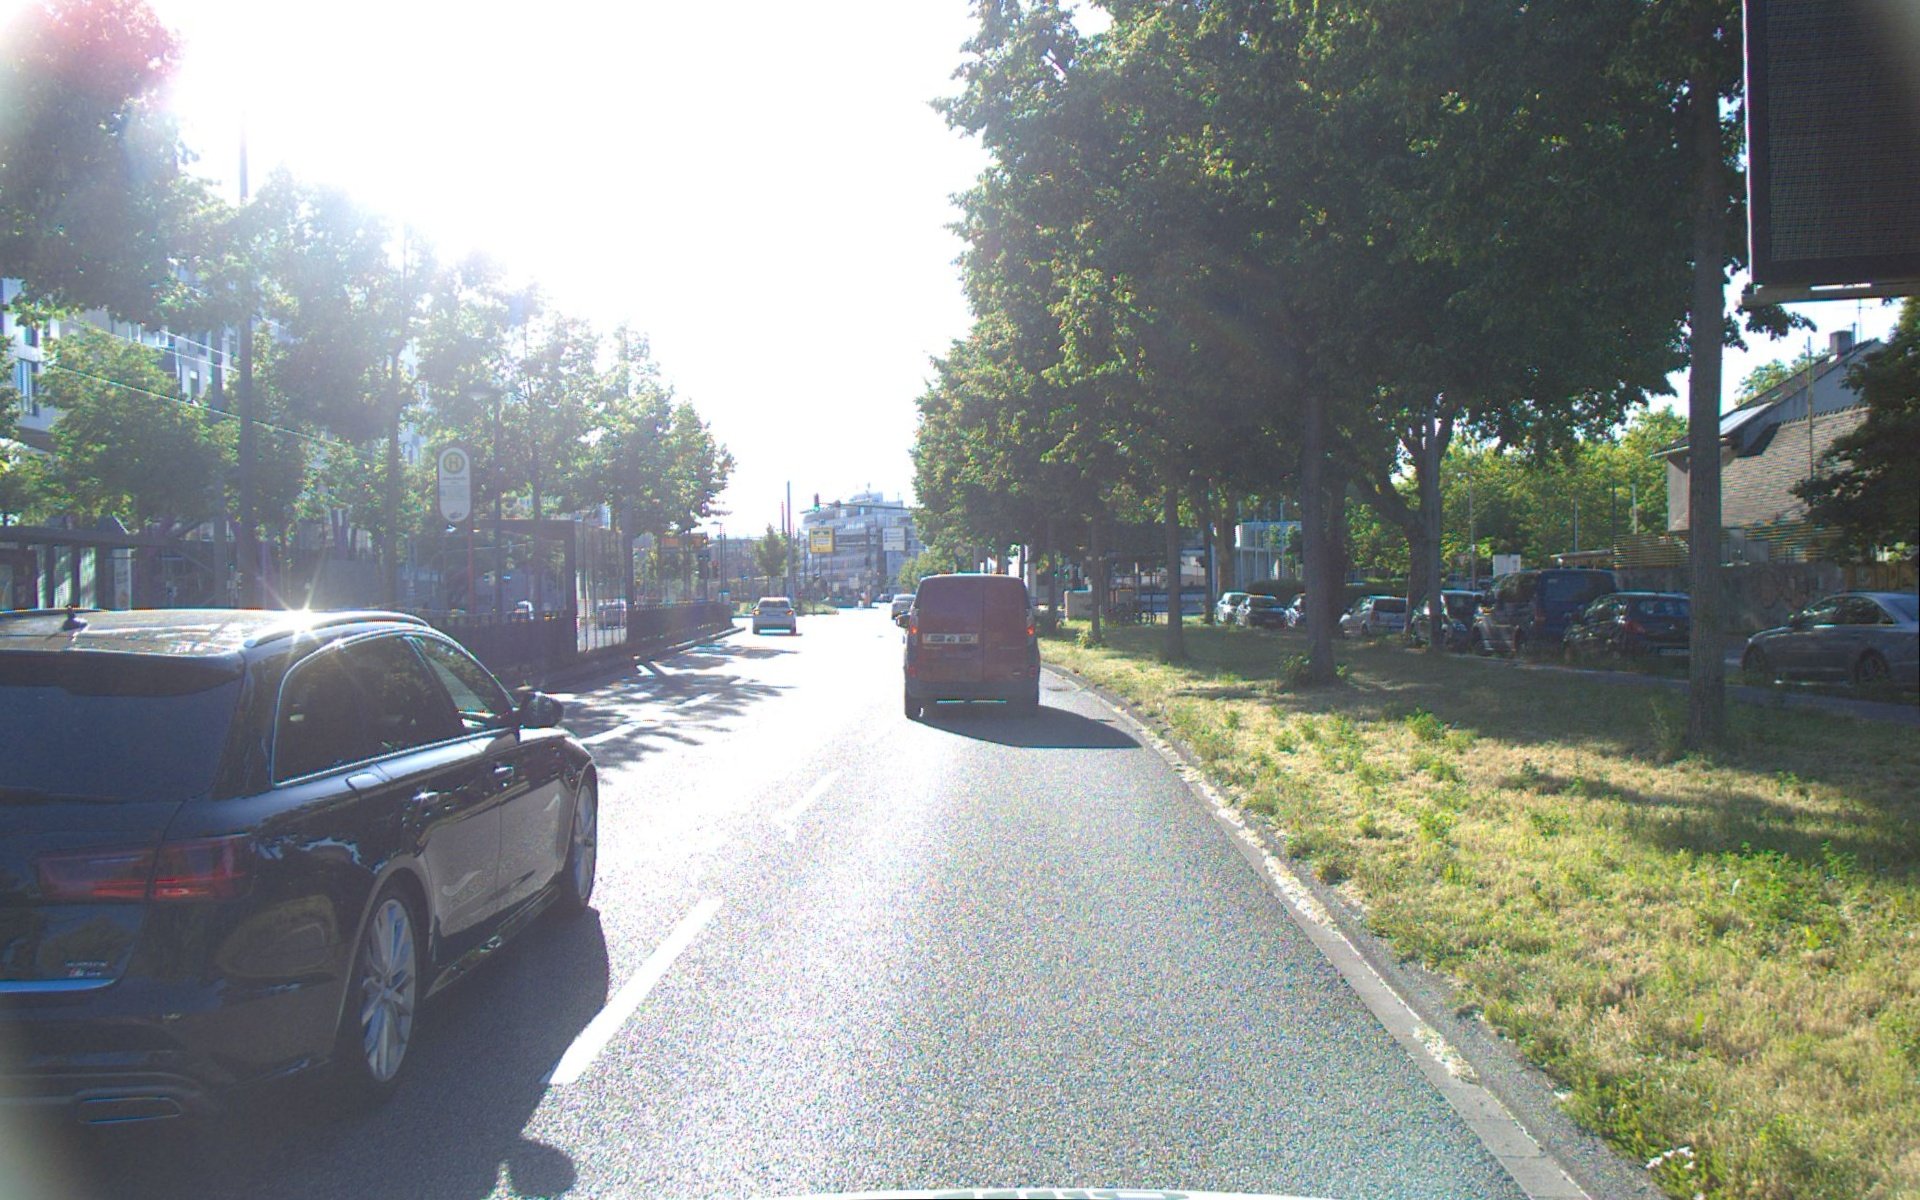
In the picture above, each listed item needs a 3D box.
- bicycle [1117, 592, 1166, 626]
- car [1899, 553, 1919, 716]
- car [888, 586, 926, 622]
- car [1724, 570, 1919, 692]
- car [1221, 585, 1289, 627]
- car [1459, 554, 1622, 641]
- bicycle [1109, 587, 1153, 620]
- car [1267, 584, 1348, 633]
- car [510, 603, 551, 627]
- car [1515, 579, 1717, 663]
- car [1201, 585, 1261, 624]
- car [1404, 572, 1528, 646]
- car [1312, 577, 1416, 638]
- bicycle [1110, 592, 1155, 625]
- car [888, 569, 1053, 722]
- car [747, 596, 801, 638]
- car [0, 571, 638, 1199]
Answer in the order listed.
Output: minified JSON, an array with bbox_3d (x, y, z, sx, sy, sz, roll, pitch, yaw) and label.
[{"bbox_3d":[7.178,0.350,65.463,1.879,1.290,0.479,-1,0,-3],"label":"bicycle"},{"bbox_3d":[11.955,0.387,16.798,1.834,1.852,4.889,0,0,-4],"label":"car"},{"bbox_3d":[-3.184,0.221,98.822,2.224,2.049,4.708,-1,0,-2],"label":"car"},{"bbox_3d":[12.278,0.384,21.891,1.834,1.459,4.898,0,0,-4],"label":"car"},{"bbox_3d":[12.282,0.252,69.088,1.834,1.713,3.996,0,0,-5],"label":"car"},{"bbox_3d":[12.048,-0.032,34.599,1.834,1.713,3.997,0,0,-4],"label":"car"},{"bbox_3d":[6.967,0.139,67.464,1.743,1.290,0.479,-1,0,-3],"label":"bicycle"},{"bbox_3d":[12.548,0.316,59.979,1.834,1.713,3.996,0,0,-5],"label":"car"},{"bbox_3d":[-32.261,1.124,124.277,1.952,1.795,4.000,0,0,1],"label":"car"},{"bbox_3d":[11.573,0.360,29.462,1.834,1.391,3.997,0,0,-4],"label":"car"},{"bbox_3d":[12.041,0.202,73.600,1.834,1.713,3.997,0,0,-3],"label":"car"},{"bbox_3d":[12.304,0.228,40.436,1.833,1.713,4.000,0,0,0],"label":"car"},{"bbox_3d":[12.152,0.231,49.988,1.834,1.713,3.996,-2,0,-5],"label":"car"},{"bbox_3d":[6.916,0.334,66.324,1.743,1.290,0.479,0,-1,-3],"label":"bicycle"},{"bbox_3d":[0.046,0.568,22.271,1.774,1.870,3.994,0,0,-6],"label":"car"},{"bbox_3d":[-7.483,0.678,66.965,1.954,1.646,3.997,0,0,-3],"label":"car"},{"bbox_3d":[-2.571,0.675,6.052,1.913,1.506,5.083,0,0,-2],"label":"car"}]
